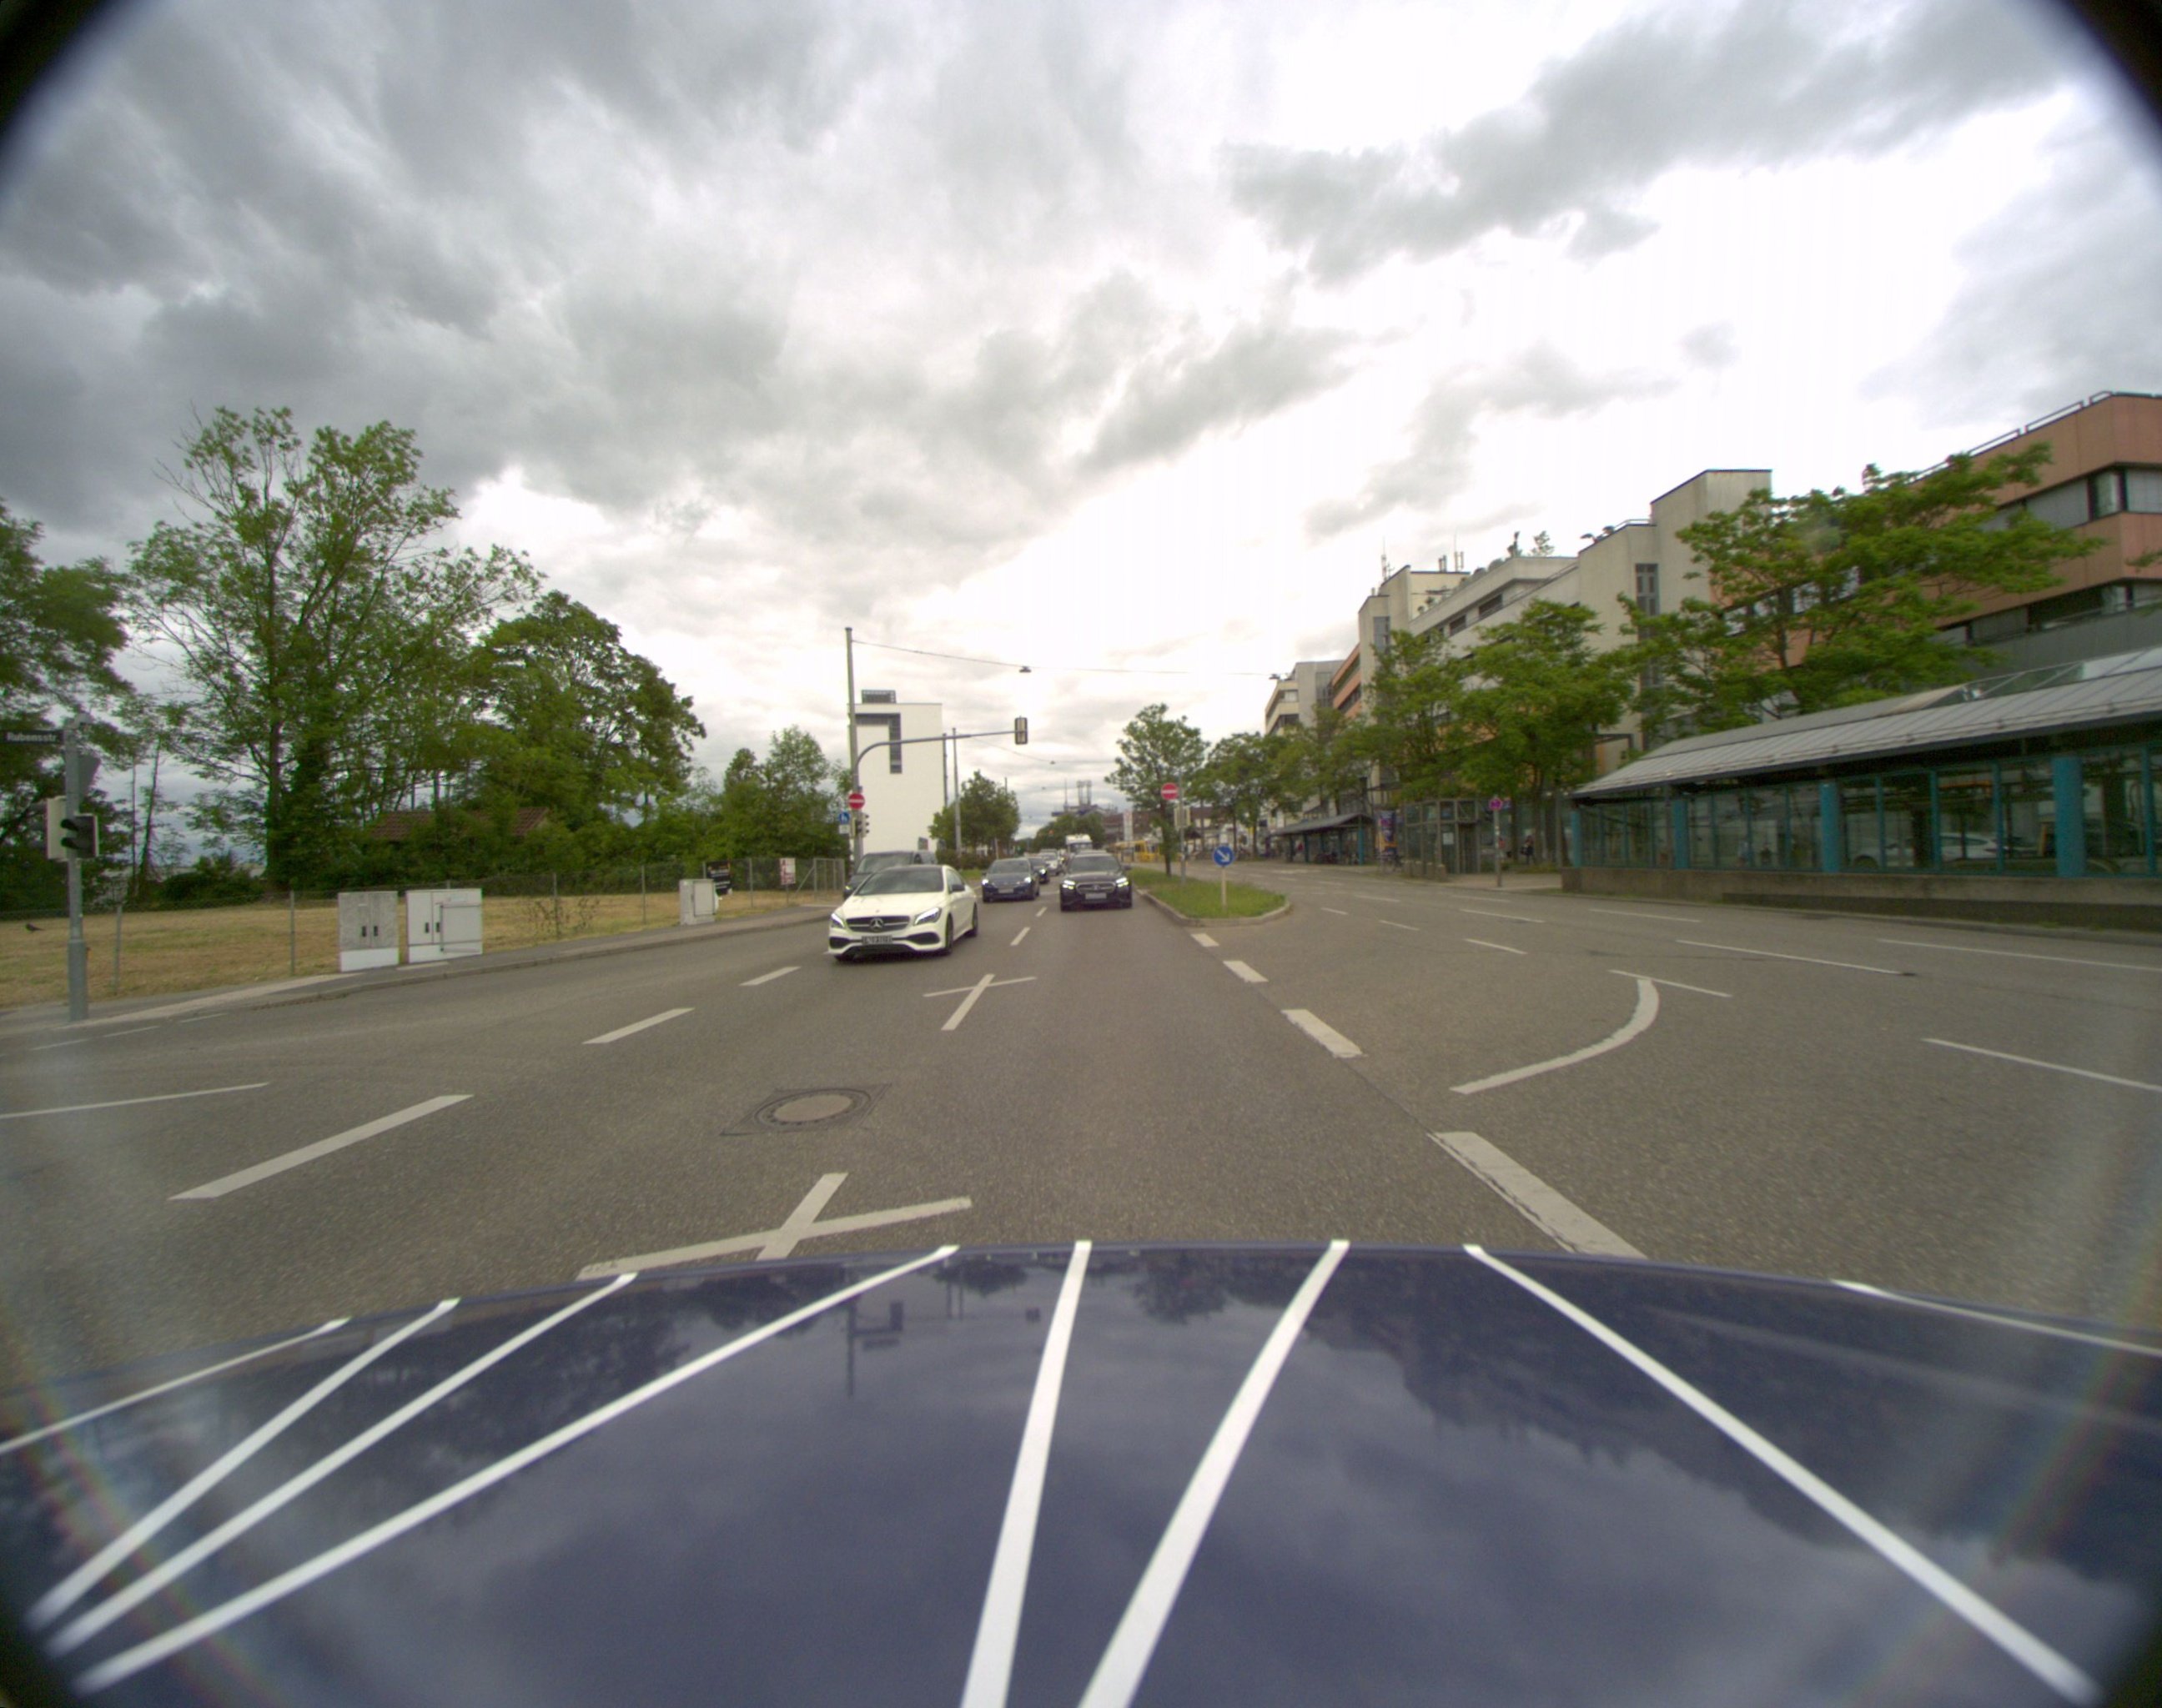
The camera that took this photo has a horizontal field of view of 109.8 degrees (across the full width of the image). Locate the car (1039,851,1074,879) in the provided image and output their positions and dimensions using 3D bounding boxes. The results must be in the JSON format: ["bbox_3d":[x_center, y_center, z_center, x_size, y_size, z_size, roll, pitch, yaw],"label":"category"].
[{"bbox_3d":[-1.395,0.628,44.878,1.798,1.464,4.310,-1,1,1],"label":"car"}]

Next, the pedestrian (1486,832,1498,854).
[{"bbox_3d":[27.446,-0.723,50.704,0.462,1.424,0.580,-1,1,1],"label":"pedestrian"}]

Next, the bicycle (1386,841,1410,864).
[{"bbox_3d":[17.719,-0.074,42.543,0.521,1.218,1.948,-3,1,1],"label":"bicycle"}]

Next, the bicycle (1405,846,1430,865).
[{"bbox_3d":[18.955,0.096,42.844,0.521,1.021,2.050,-3,1,1],"label":"bicycle"}]

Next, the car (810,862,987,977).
[{"bbox_3d":[-2.880,0.950,13.133,1.798,1.464,4.699,-1,1,1],"label":"car"}]

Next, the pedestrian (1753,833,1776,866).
[{"bbox_3d":[25.052,-0.164,27.835,0.383,1.186,0.514,-1,1,1],"label":"pedestrian"}]

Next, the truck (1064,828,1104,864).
[{"bbox_3d":[0.227,-0.743,71.593,3.120,3.209,6.521,-2,1,-4],"label":"truck"}]

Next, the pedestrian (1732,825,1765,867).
[{"bbox_3d":[25.101,-0.315,28.574,0.687,1.538,0.638,-1,1,-1],"label":"pedestrian"}]

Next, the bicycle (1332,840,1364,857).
[{"bbox_3d":[19.220,-0.397,54.649,2.070,1.132,0.542,-3,2,-6],"label":"bicycle"}]

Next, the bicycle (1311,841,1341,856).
[{"bbox_3d":[19.012,-0.425,58.964,2.069,1.084,0.542,-3,2,-1],"label":"bicycle"}]

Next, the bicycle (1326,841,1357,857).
[{"bbox_3d":[19.113,-0.369,55.814,2.070,1.084,0.542,-3,2,-6],"label":"bicycle"}]

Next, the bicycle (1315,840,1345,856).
[{"bbox_3d":[18.984,-0.458,58.047,2.069,1.132,0.542,-3,2,-1],"label":"bicycle"}]

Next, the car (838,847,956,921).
[{"bbox_3d":[-5.280,0.770,22.573,2.015,1.877,4.875,-1,1,3],"label":"car"}]

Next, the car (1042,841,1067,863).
[{"bbox_3d":[-2.242,-0.210,64.712,2.021,1.760,3.999,-2,1,-2],"label":"car"}]

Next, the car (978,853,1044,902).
[{"bbox_3d":[-2.384,0.779,26.999,1.798,1.464,4.310,-3,1,1],"label":"car"}]

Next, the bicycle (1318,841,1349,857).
[{"bbox_3d":[18.970,-0.407,57.137,2.069,1.084,0.542,-3,2,-1],"label":"bicycle"}]

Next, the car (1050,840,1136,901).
[{"bbox_3d":[0.197,0.460,21.405,2.059,1.477,4.972,-1,-1,-3],"label":"car"}]

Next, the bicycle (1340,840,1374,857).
[{"bbox_3d":[19.520,-0.373,53.758,2.206,1.084,0.542,-3,2,-6],"label":"bicycle"}]

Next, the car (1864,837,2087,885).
[{"bbox_3d":[29.248,0.169,25.129,1.693,1.392,4.719,-1,1,-2],"label":"car"}]

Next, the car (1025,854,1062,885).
[{"bbox_3d":[-2.053,0.748,40.139,1.769,1.440,4.417,-1,1,-5],"label":"car"}]

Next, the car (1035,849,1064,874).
[{"bbox_3d":[-2.180,0.479,53.749,1.798,1.590,4.310,-1,1,1],"label":"car"}]
